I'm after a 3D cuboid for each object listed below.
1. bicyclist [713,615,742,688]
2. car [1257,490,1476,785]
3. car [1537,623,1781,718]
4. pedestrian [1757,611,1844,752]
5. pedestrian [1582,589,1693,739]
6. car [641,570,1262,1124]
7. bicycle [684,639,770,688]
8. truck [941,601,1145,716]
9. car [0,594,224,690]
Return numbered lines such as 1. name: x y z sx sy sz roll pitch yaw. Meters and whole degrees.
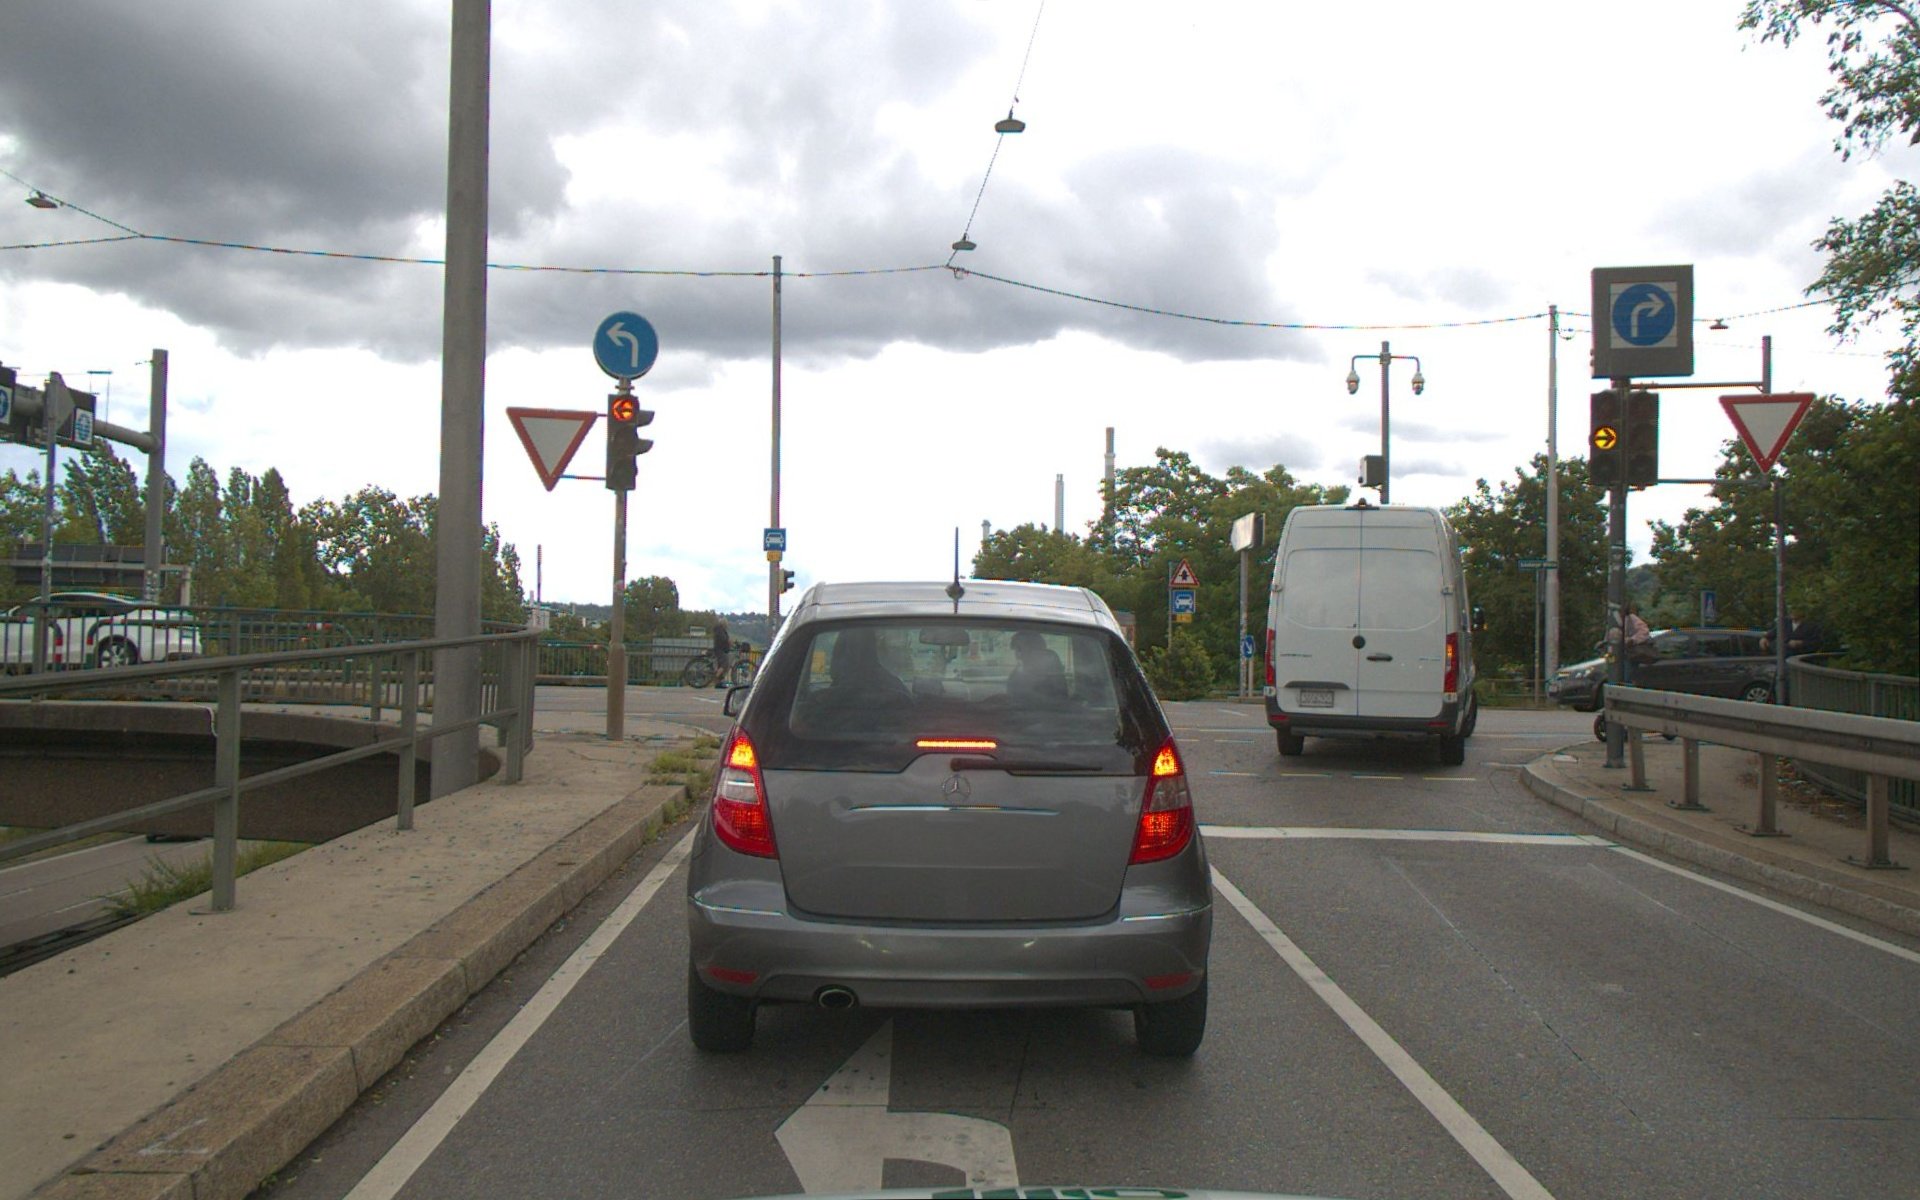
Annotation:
1. bicyclist: -5.622 1.232 39.945 0.641 1.703 0.867 0 0 -11
2. car: 4.968 0.323 19.439 2.066 2.832 6.783 0 1 17
3. car: 13.273 1.320 31.575 3.904 1.694 1.813 0 0 2
4. pedestrian: 10.208 0.971 20.089 0.672 1.647 0.771 0 0 -45
5. pedestrian: 7.893 0.748 19.313 0.816 1.707 0.978 0 -3 -4
6. car: 0.020 0.694 6.863 1.819 1.616 4.001 0 1 1
7. bicycle: -5.634 1.523 39.931 1.996 1.144 0.927 0 0 -12
8. truck: 2.682 1.871 58.246 2.754 3.580 10.165 0 1 -25
9. car: -16.700 0.769 31.701 4.300 1.747 1.938 0 0 2
